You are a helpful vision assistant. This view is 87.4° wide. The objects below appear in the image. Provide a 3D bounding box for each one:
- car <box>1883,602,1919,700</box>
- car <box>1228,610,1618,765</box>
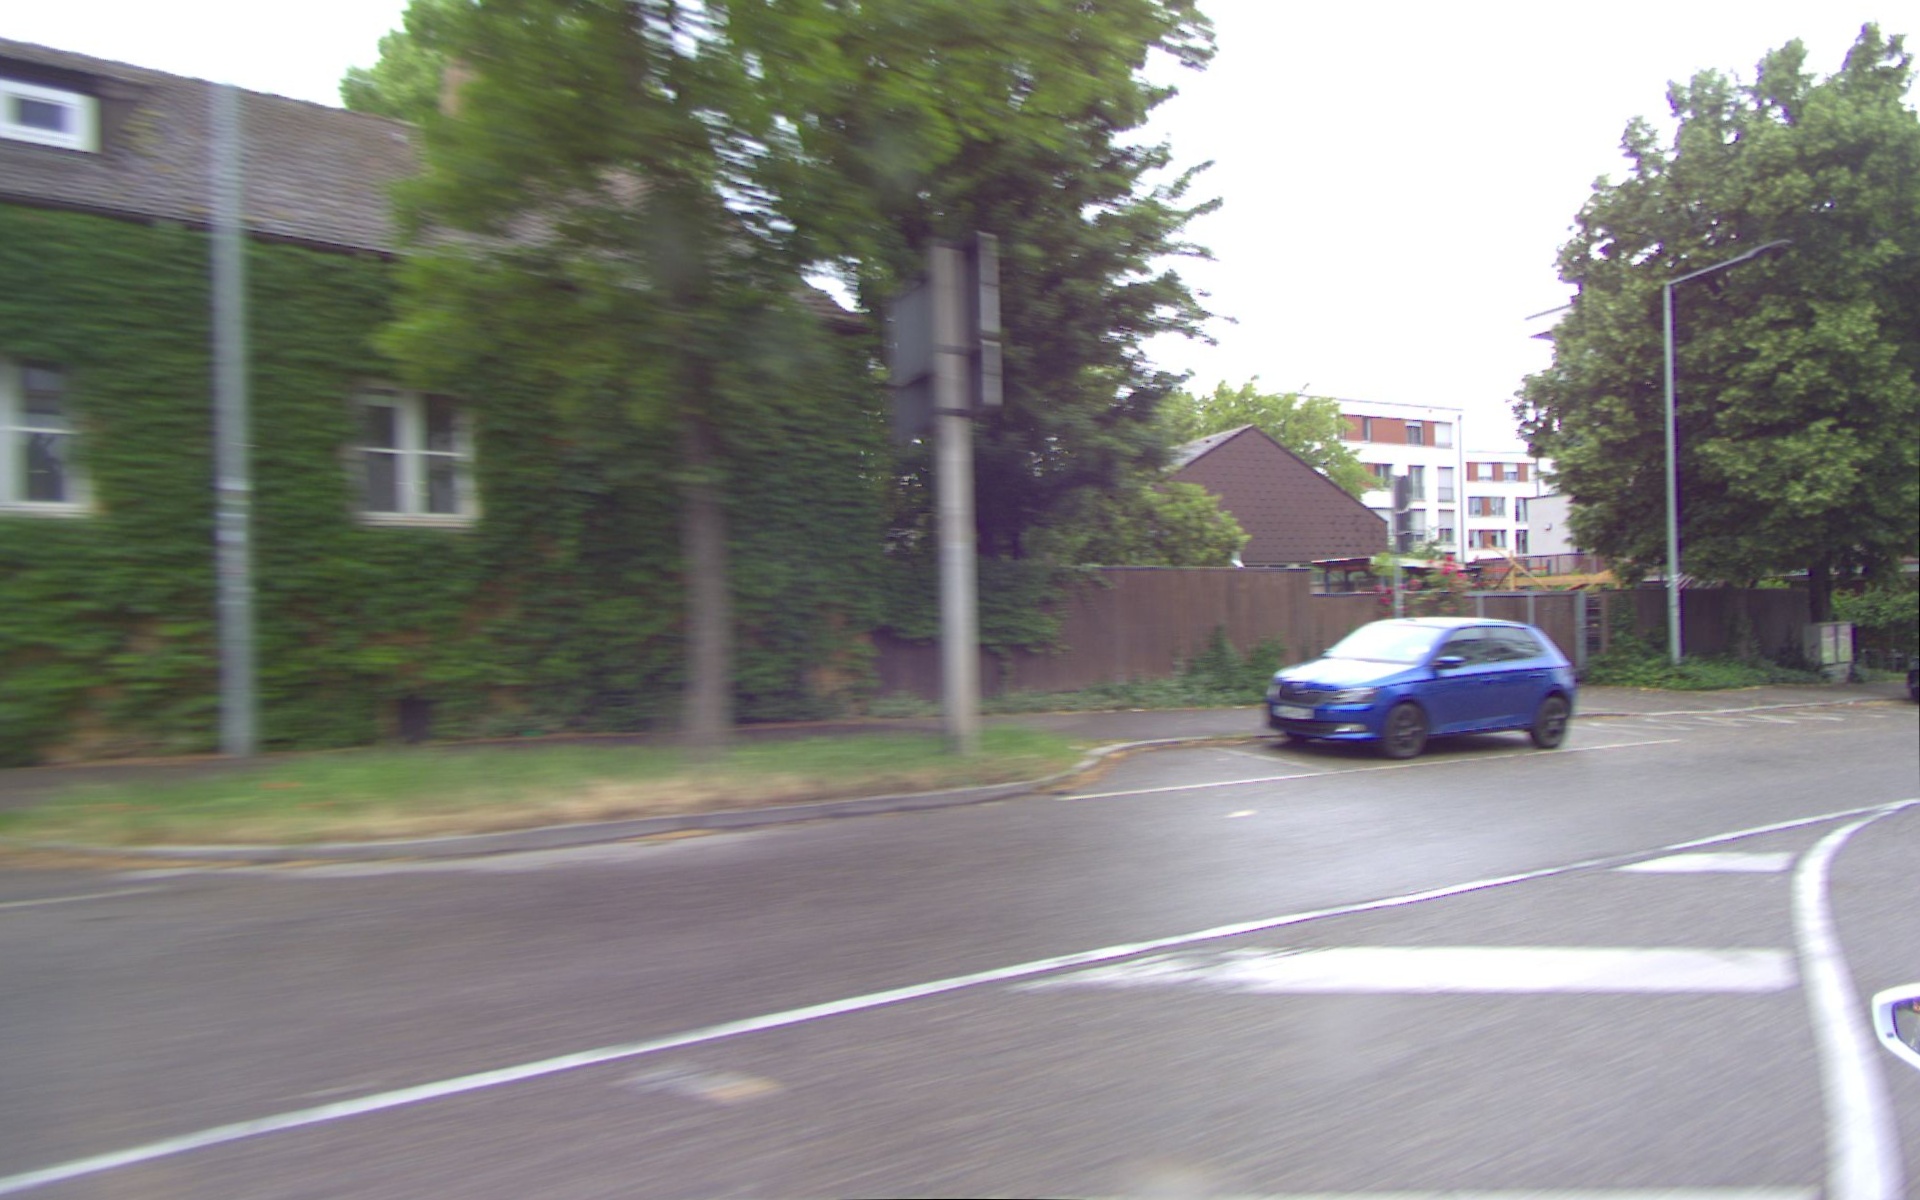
[{"bbox_3d":[20.413,1.020,19.369,5.338,1.810,1.987,2,0,-26],"label":"car"},{"bbox_3d":[5.404,0.920,11.708,4.131,1.489,1.987,2,0,-27],"label":"car"}]
